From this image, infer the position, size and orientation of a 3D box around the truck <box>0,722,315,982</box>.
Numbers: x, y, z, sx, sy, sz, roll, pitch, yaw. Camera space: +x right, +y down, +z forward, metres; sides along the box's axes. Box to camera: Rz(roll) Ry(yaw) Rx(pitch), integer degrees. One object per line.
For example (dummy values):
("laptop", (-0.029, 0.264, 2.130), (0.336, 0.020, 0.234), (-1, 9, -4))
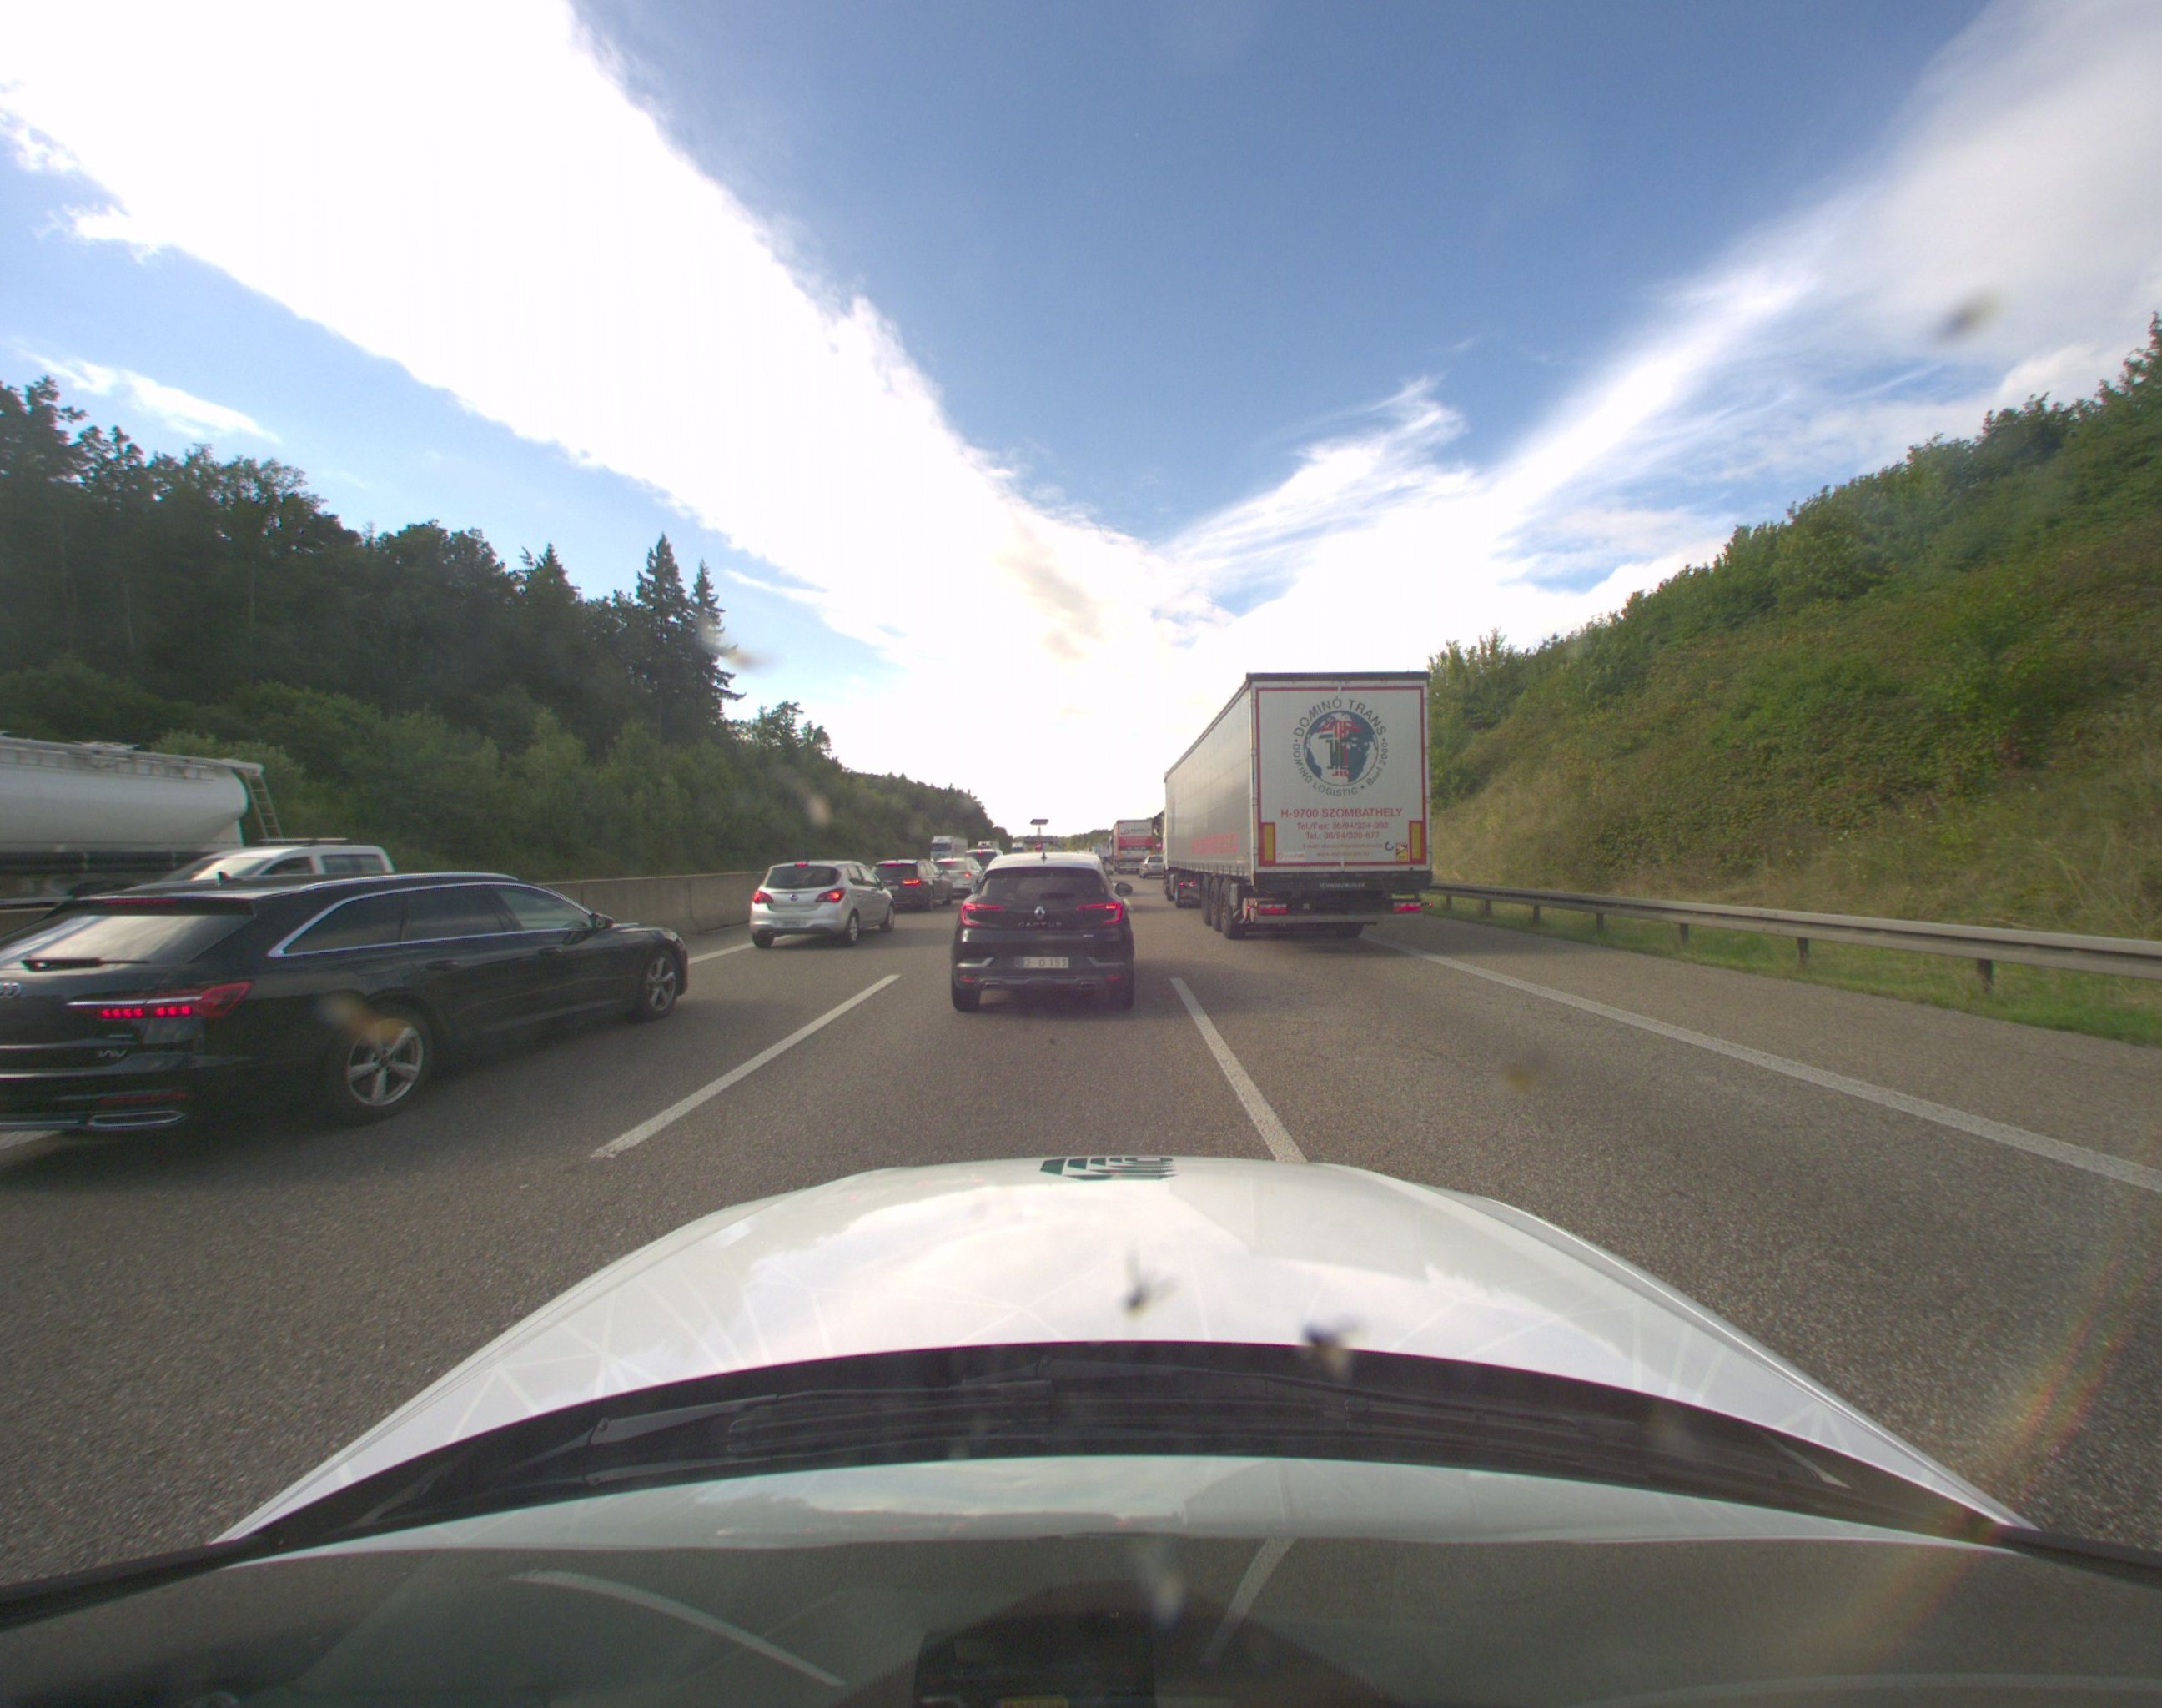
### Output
("truck", (-19.602, -0.038, 12.242), (2.922, 4.354, 13.910), (0, -1, 0))

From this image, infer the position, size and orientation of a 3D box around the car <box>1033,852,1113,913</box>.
("car", (-0.152, 0.733, 22.282), (1.986, 1.514, 4.001), (0, -1, 1))

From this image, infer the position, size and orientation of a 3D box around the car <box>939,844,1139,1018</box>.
("car", (-0.268, 0.707, 9.391), (1.797, 1.552, 4.003), (-1, 0, 3))

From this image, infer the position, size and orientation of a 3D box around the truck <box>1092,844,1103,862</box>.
("truck", (5.200, -0.171, 253.782), (3.155, 5.505, 12.741), (0, -1, 2))

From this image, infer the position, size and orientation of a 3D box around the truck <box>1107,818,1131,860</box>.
("truck", (5.156, -1.867, 112.901), (3.155, 5.505, 12.741), (0, -1, 2))

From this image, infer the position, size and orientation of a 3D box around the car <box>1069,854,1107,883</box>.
("car", (0.435, 0.767, 44.832), (1.986, 1.514, 4.001), (0, -1, 1))

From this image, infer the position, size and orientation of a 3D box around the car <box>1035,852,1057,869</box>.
("car", (-3.531, 0.660, 82.594), (1.986, 1.613, 4.001), (-1, 0, 1))

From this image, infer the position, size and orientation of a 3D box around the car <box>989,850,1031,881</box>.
("car", (-3.886, 0.636, 45.326), (1.848, 1.641, 3.927), (0, -1, 2))

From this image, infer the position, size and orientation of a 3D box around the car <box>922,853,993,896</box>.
("car", (-4.496, 0.724, 30.258), (1.798, 1.461, 4.310), (-1, 0, 2))

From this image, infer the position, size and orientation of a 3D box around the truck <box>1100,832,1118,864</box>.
("truck", (5.241, -1.016, 150.683), (3.153, 5.505, 12.747), (0, -1, 3))

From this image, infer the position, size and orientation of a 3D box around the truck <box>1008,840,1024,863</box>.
("truck", (-14.539, -0.490, 182.843), (3.078, 5.101, 7.141), (0, -1, 0))

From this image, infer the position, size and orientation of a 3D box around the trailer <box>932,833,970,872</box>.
("trailer", (-18.471, -0.143, 116.962), (3.032, 5.281, 13.835), (0, -1, 1))

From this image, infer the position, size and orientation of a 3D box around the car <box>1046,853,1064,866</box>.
("car", (-3.325, 0.740, 104.418), (1.986, 1.613, 4.001), (-1, 0, 1))

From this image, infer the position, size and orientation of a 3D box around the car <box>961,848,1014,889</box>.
("car", (-4.202, 0.644, 37.307), (1.905, 1.789, 4.416), (0, -1, 0))

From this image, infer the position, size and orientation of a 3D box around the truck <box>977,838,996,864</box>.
("truck", (-17.885, -0.509, 154.106), (2.922, 4.859, 4.765), (0, -1, 0))

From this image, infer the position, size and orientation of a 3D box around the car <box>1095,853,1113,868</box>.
("car", (2.649, 0.724, 94.294), (1.986, 1.613, 4.001), (-1, 0, 1))

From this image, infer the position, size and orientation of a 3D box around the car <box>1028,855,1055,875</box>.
("car", (-3.312, 0.931, 69.584), (1.986, 1.613, 4.001), (0, -1, 1))

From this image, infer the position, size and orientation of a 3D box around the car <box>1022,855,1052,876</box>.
("car", (-3.395, 0.874, 62.848), (1.986, 1.613, 4.001), (0, -1, 1))

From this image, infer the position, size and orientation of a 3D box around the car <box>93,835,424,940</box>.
("car", (-15.146, 0.544, 15.434), (1.846, 1.712, 4.324), (0, 0, 1))

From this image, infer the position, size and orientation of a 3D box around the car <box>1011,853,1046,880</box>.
("car", (-3.450, 0.799, 54.063), (1.986, 1.722, 4.001), (0, -1, 1))

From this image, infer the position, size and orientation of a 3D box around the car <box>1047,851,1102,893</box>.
("car", (-0.181, 0.655, 31.352), (1.986, 1.514, 4.001), (0, -1, 1))

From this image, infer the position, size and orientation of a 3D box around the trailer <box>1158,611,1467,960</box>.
("trailer", (3.745, -0.935, 17.575), (2.992, 4.661, 13.290), (-1, 0, 1))

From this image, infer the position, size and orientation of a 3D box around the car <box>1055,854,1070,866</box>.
("car", (-2.647, 0.841, 118.842), (1.986, 1.613, 4.001), (-1, 0, 1))

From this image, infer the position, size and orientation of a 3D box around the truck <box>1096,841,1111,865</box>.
("truck", (5.169, -0.195, 184.909), (3.155, 5.159, 12.741), (0, -1, 2))

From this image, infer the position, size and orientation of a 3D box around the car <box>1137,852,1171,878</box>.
("car", (4.459, 0.656, 50.181), (1.799, 1.533, 3.925), (0, -1, 0))

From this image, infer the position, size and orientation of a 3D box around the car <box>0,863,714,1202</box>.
("car", (-4.871, 0.839, 6.124), (1.875, 1.471, 4.854), (0, 0, 2))

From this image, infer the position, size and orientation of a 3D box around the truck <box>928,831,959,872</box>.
("truck", (-18.571, -0.298, 110.282), (3.029, 5.253, 6.883), (0, -1, 0))

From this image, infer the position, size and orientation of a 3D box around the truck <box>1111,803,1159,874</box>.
("truck", (4.112, -1.050, 64.956), (3.352, 5.044, 12.741), (0, -1, 2))

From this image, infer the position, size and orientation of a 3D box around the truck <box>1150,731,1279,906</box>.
("truck", (3.815, -0.953, 24.730), (2.987, 4.667, 5.939), (-1, 0, 1))

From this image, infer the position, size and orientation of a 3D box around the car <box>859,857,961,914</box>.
("car", (-4.809, 0.818, 23.593), (1.836, 1.456, 4.749), (0, 0, 1))

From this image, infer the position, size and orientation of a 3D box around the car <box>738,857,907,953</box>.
("car", (-4.561, 0.817, 15.052), (1.741, 1.465, 4.041), (-1, 0, 1))
